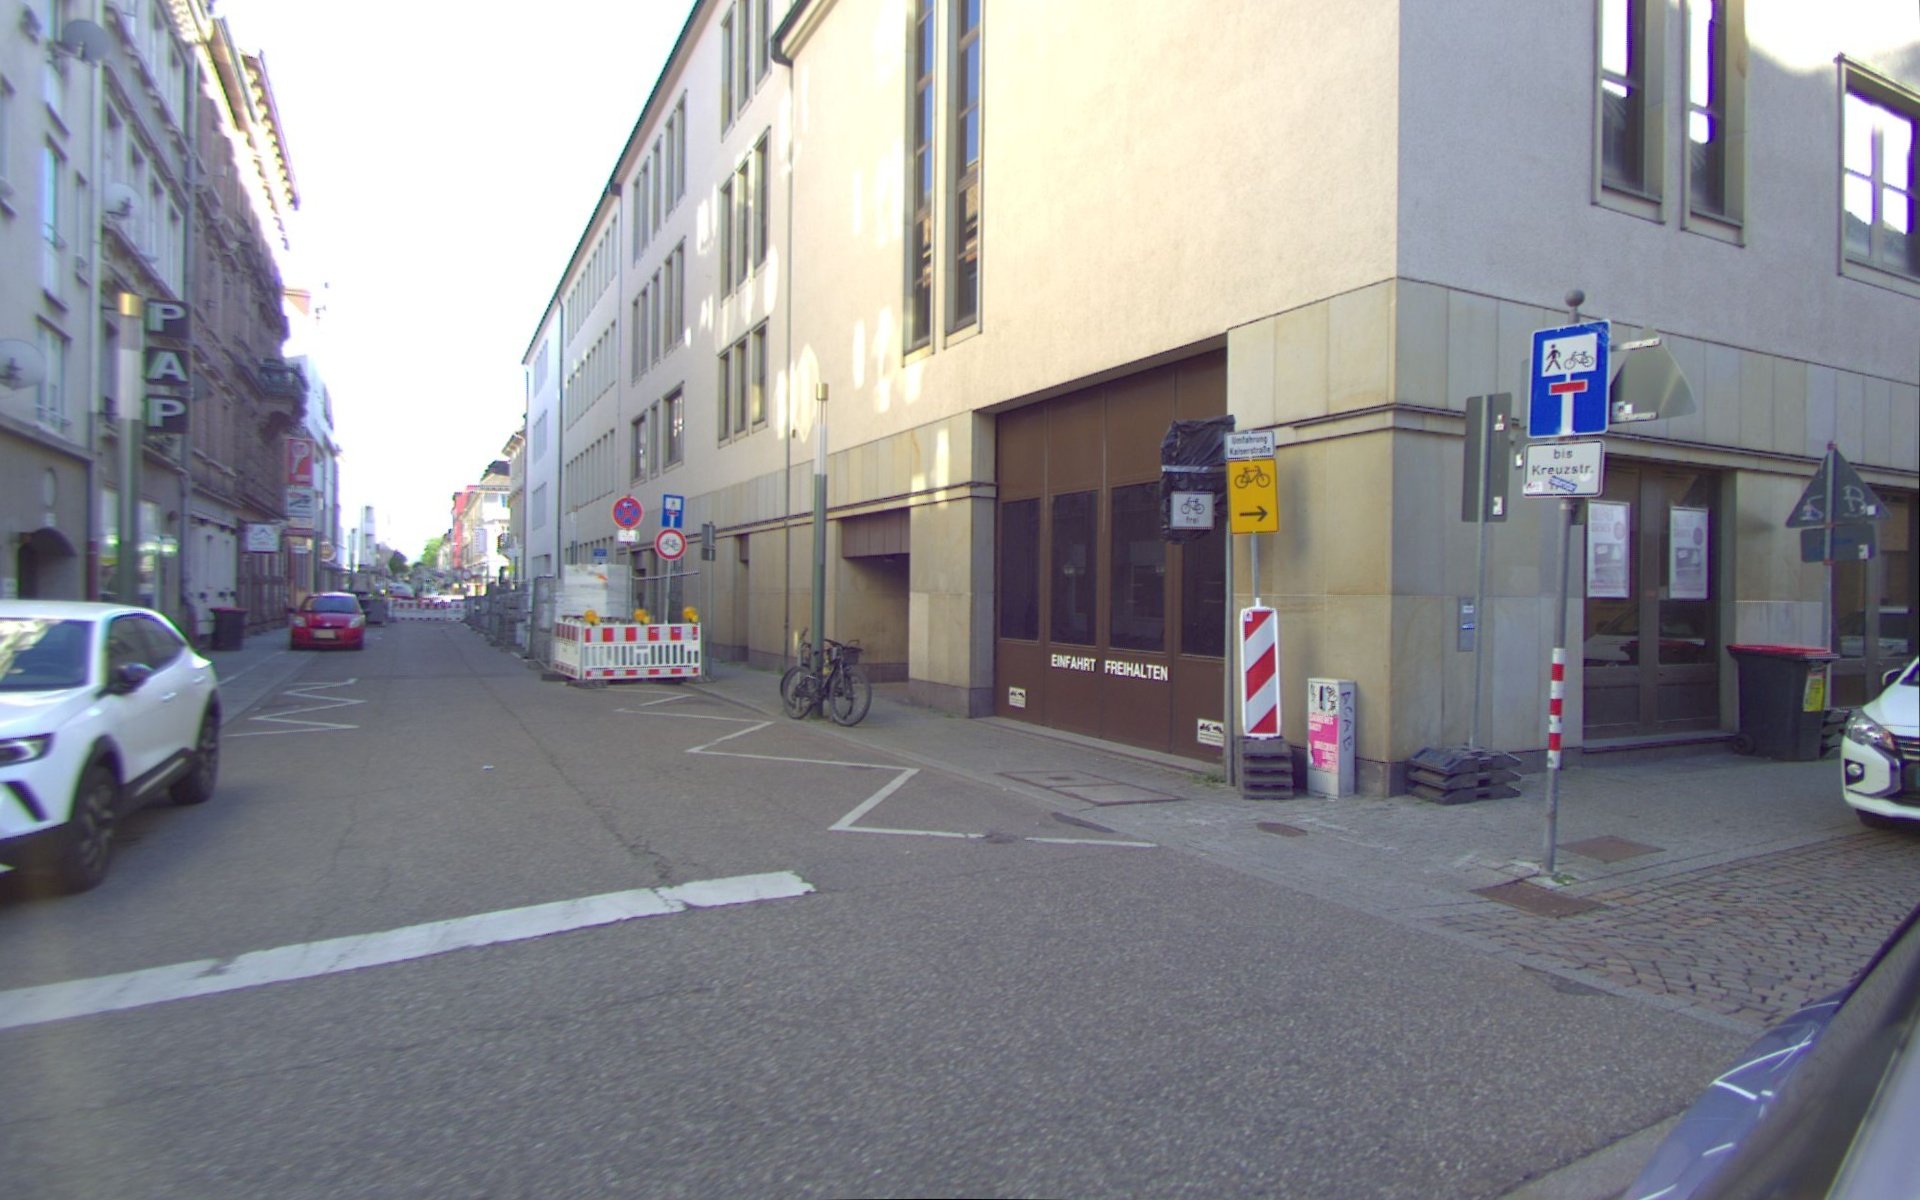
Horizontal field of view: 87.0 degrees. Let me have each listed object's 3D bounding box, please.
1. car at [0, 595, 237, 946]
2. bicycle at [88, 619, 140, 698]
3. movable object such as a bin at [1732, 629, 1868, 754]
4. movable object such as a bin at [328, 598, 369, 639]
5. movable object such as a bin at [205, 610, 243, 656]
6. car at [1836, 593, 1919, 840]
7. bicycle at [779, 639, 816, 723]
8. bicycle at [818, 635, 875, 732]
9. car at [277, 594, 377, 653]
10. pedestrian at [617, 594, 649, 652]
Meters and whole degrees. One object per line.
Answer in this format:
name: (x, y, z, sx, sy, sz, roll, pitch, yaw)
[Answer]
car: (-5.877, 0.767, 6.136, 1.731, 1.588, 4.088, 1, 0, -26)
bicycle: (-13.409, 0.900, 16.063, 0.423, 1.158, 1.591, 1, 0, -33)
movable object such as a bin: (7.955, 0.838, 9.593, 0.910, 1.100, 0.689, 1, -1, -27)
movable object such as a bin: (-21.703, 0.653, 35.957, 1.031, 1.408, 2.003, 1, 0, -26)
movable object such as a bin: (-18.235, 0.812, 25.083, 0.676, 1.088, 0.450, 3, -1, -30)
car: (8.044, 0.761, 7.000, 3.919, 1.568, 1.738, 1, -1, -29)
bicycle: (-2.166, 1.048, 13.477, 0.460, 1.021, 1.424, 0, -1, -9)
bicycle: (-1.456, 1.010, 12.769, 0.477, 1.087, 1.655, 1, -1, -14)
car: (-17.276, 0.604, 27.783, 1.878, 1.497, 3.809, 1, 0, -26)
pedestrian: (-9.140, 0.630, 28.278, 0.708, 1.606, 0.639, 1, 0, -29)
